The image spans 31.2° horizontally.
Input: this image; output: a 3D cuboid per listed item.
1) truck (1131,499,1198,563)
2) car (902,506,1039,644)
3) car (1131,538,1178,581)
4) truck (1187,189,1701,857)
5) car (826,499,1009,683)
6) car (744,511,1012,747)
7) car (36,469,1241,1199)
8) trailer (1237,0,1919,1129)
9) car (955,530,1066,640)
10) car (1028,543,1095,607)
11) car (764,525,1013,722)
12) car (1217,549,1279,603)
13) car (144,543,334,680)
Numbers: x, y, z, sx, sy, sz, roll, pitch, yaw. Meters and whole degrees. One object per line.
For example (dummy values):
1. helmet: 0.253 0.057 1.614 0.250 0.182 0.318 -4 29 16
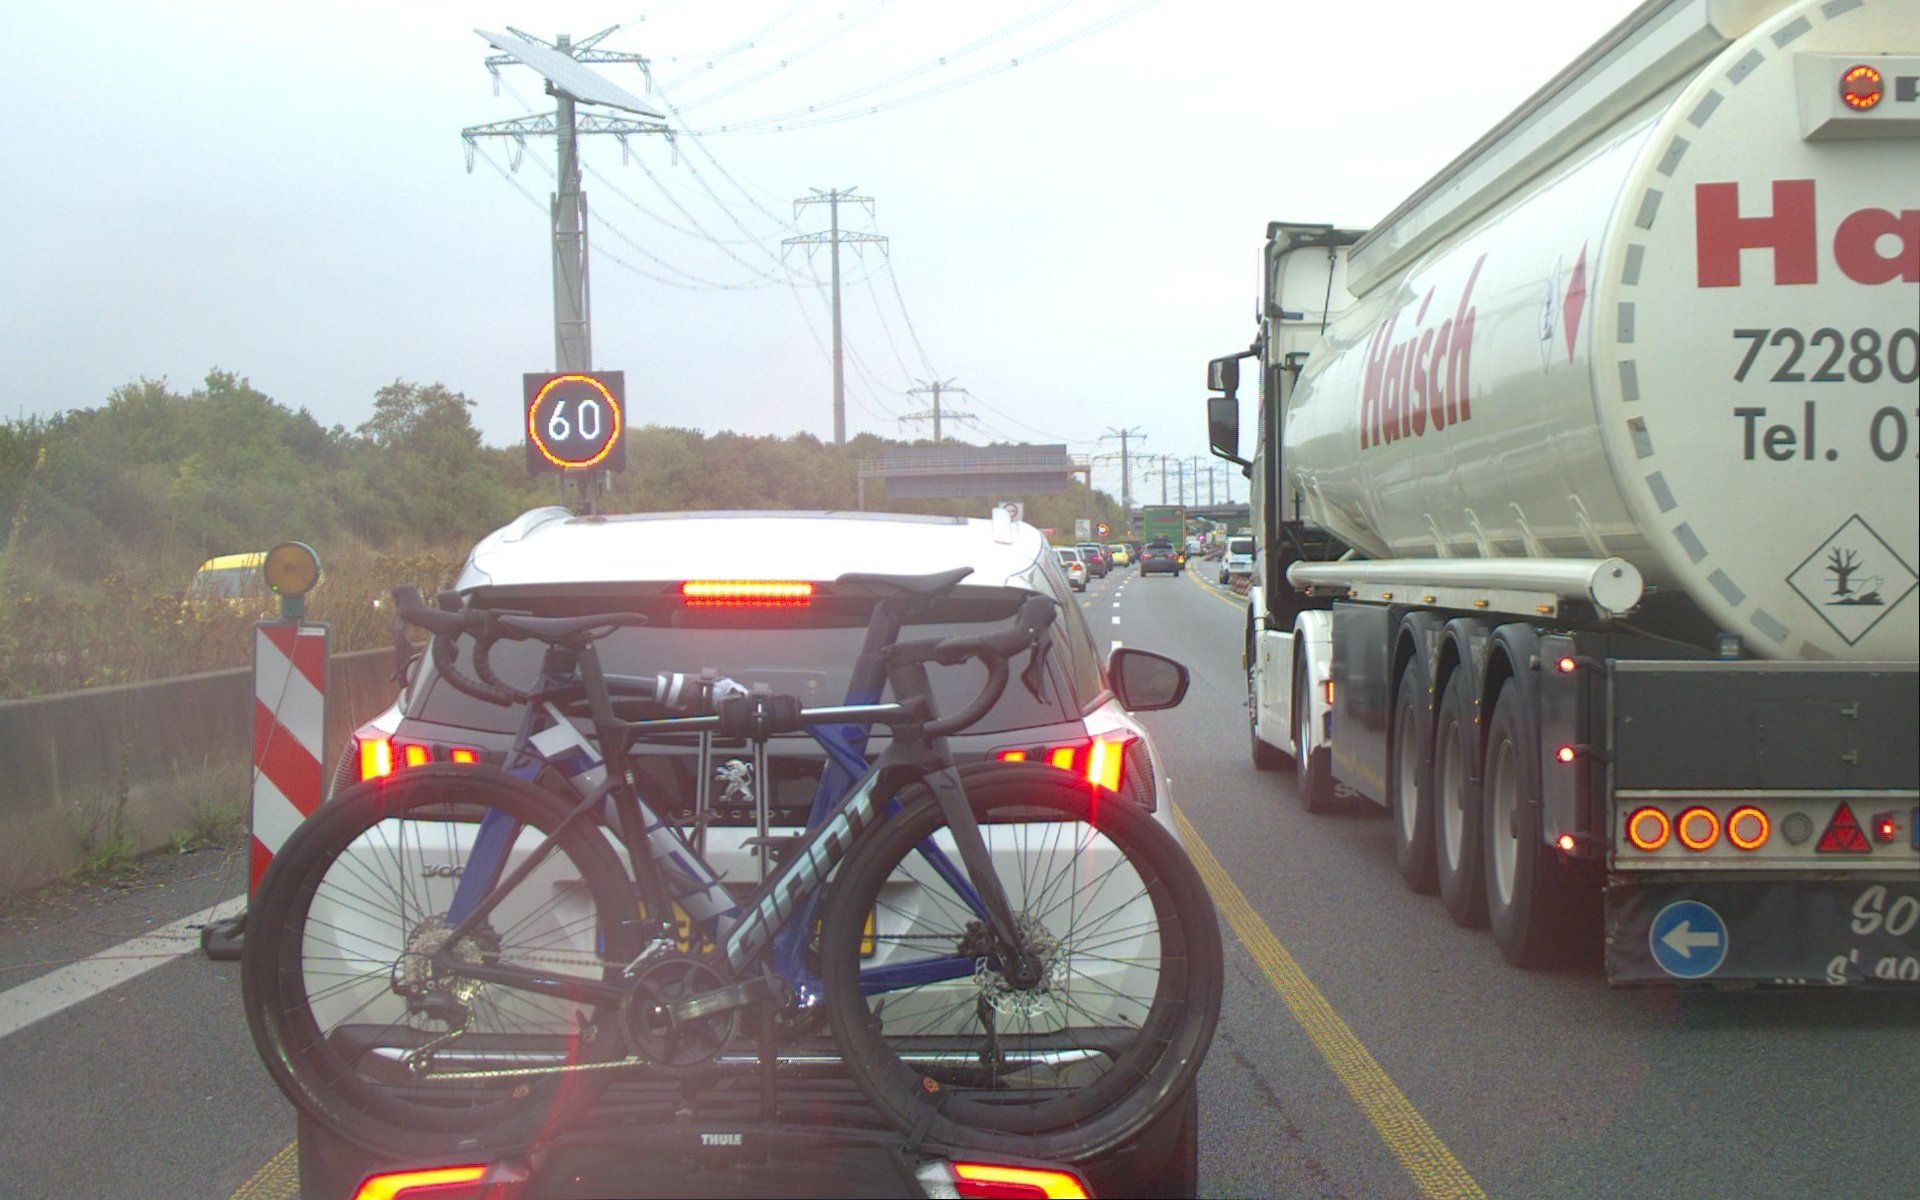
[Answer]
1. truck: 12.690 -4.248 214.186 3.732 3.809 11.868 -1 1 1
2. car: 0.141 -0.420 53.055 1.993 2.007 4.000 -1 1 0
3. car: 9.396 -1.941 166.267 1.993 2.007 4.000 1 0 -1
4. truck: 2.971 -0.464 22.166 2.644 3.877 4.030 1 0 -1
5. car: -0.496 -0.140 40.372 1.993 2.007 4.000 -1 1 0
6. car: -0.595 0.179 28.193 1.993 1.754 4.000 -1 1 1
7. car: -0.453 0.557 7.793 1.928 1.605 4.595 0 1 2
8. trailer: 3.070 -0.420 15.352 2.637 3.880 10.544 1 0 -1
9. car: 0.922 -0.287 65.270 1.993 2.007 4.000 1 0 -1
10. car: 3.283 -0.810 111.556 1.993 2.007 4.000 1 0 -1
11. car: -0.594 0.151 29.534 1.993 1.578 4.000 0 1 -1
12. car: 11.235 -0.956 134.363 1.993 2.007 4.000 -1 1 0
13. car: -11.606 0.141 55.644 1.993 2.040 4.778 -1 1 0
